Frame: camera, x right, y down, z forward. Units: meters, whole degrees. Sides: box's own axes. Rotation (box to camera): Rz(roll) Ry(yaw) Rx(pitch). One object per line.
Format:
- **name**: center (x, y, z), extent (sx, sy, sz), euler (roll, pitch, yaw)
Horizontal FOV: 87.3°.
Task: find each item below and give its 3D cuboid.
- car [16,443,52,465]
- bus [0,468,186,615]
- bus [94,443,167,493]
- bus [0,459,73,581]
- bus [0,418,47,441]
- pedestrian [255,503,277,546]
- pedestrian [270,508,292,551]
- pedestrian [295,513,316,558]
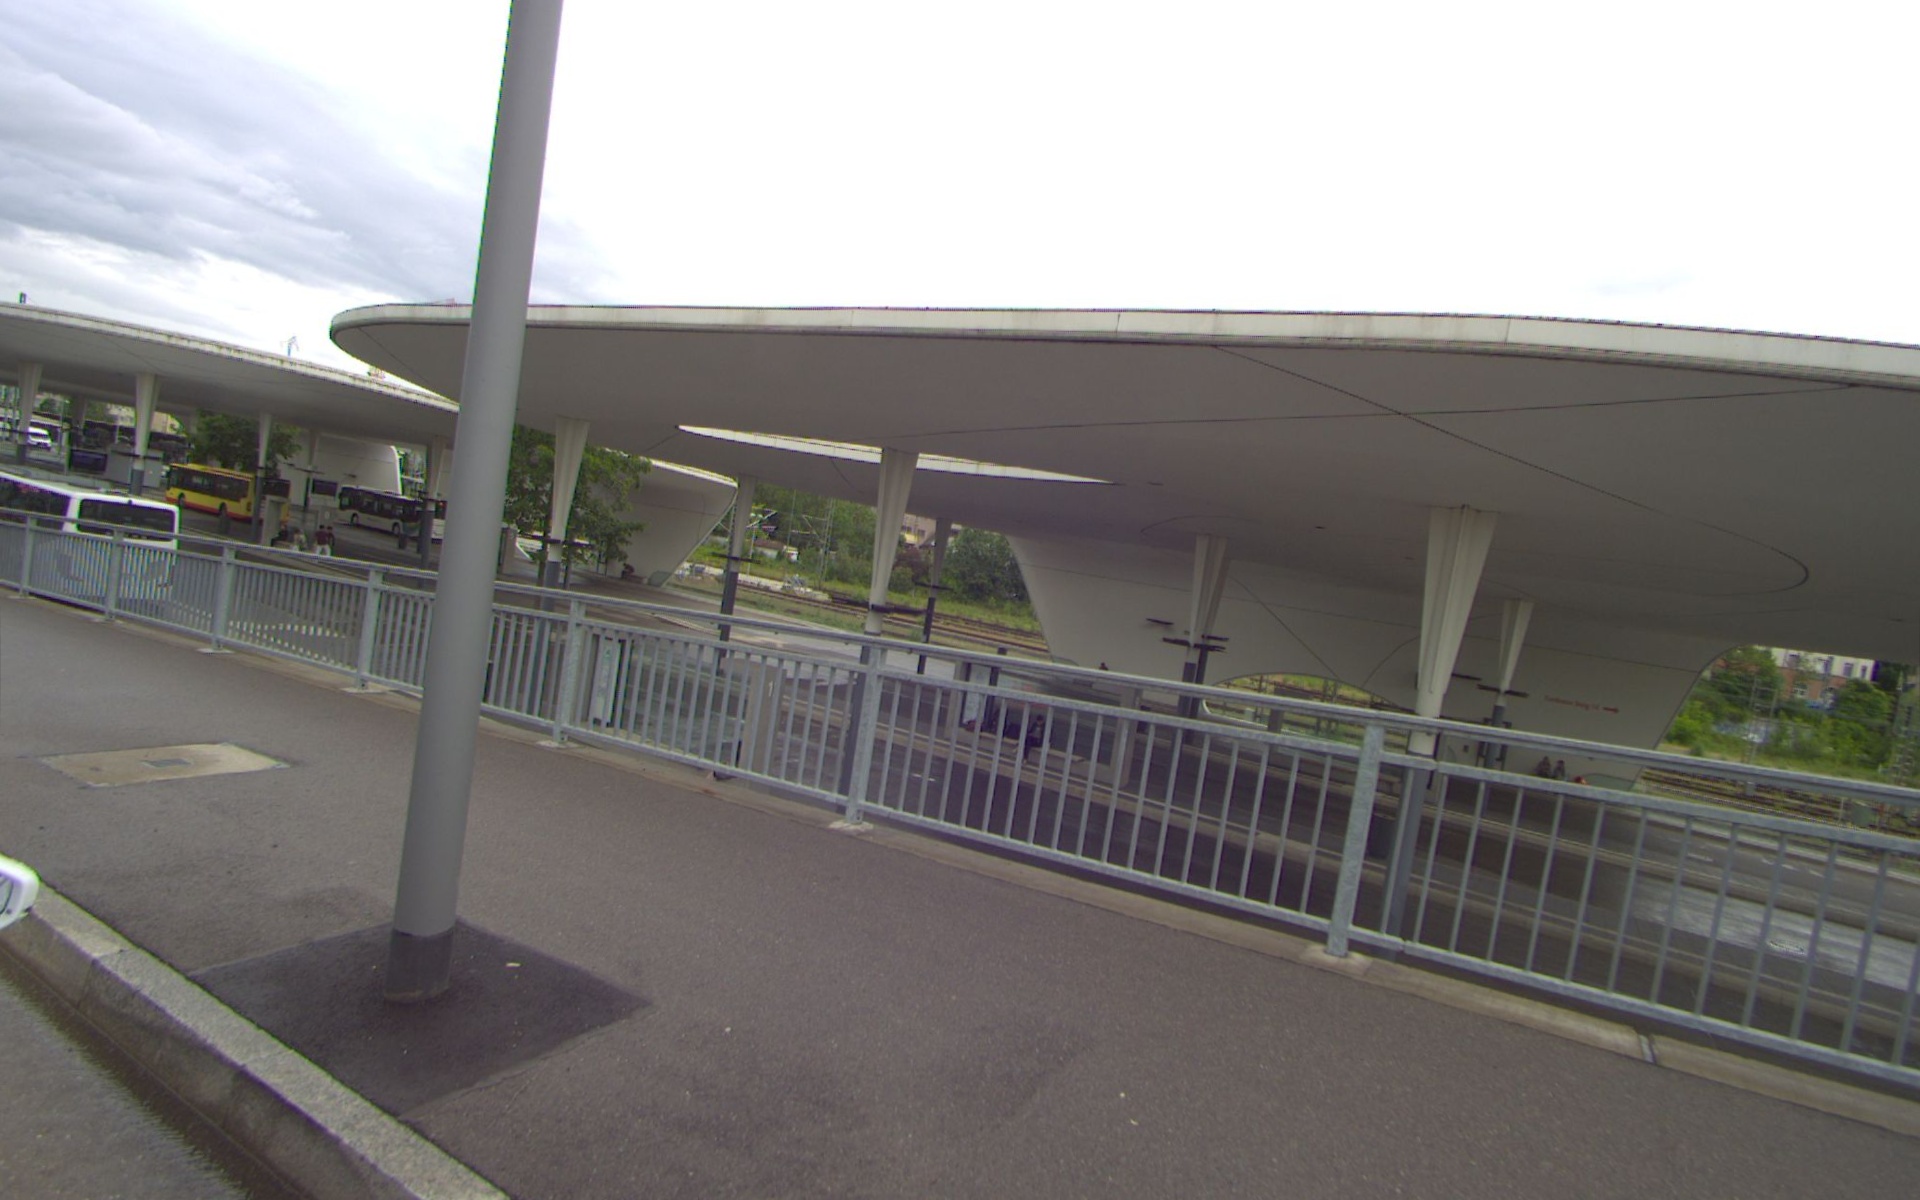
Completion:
- **car**: center (-107.905, -17.022, 117.193), extent (3.933, 2.040, 1.995), euler (9, 2, 31)
- **bus**: center (-25.704, -1.783, 28.952), extent (6.948, 3.279, 2.649), euler (10, 3, 28)
- **bus**: center (-68.138, -10.862, 82.605), extent (6.879, 3.251, 2.601), euler (9, 3, 34)
- **bus**: center (-31.795, -2.896, 32.260), extent (6.948, 3.279, 2.649), euler (12, 4, 28)
- **bus**: center (-118.336, -21.358, 122.608), extent (2.132, 2.039, 10.183), euler (8, 1, 29)
- **pedestrian**: center (-34.496, -3.737, 50.001), extent (0.570, 2.040, 0.544), euler (8, 2, 32)
- **pedestrian**: center (-33.330, -3.454, 49.372), extent (0.570, 2.040, 0.544), euler (8, 2, 32)
- **pedestrian**: center (-31.136, -3.055, 47.877), extent (0.475, 2.040, 0.560), euler (8, 2, 34)
